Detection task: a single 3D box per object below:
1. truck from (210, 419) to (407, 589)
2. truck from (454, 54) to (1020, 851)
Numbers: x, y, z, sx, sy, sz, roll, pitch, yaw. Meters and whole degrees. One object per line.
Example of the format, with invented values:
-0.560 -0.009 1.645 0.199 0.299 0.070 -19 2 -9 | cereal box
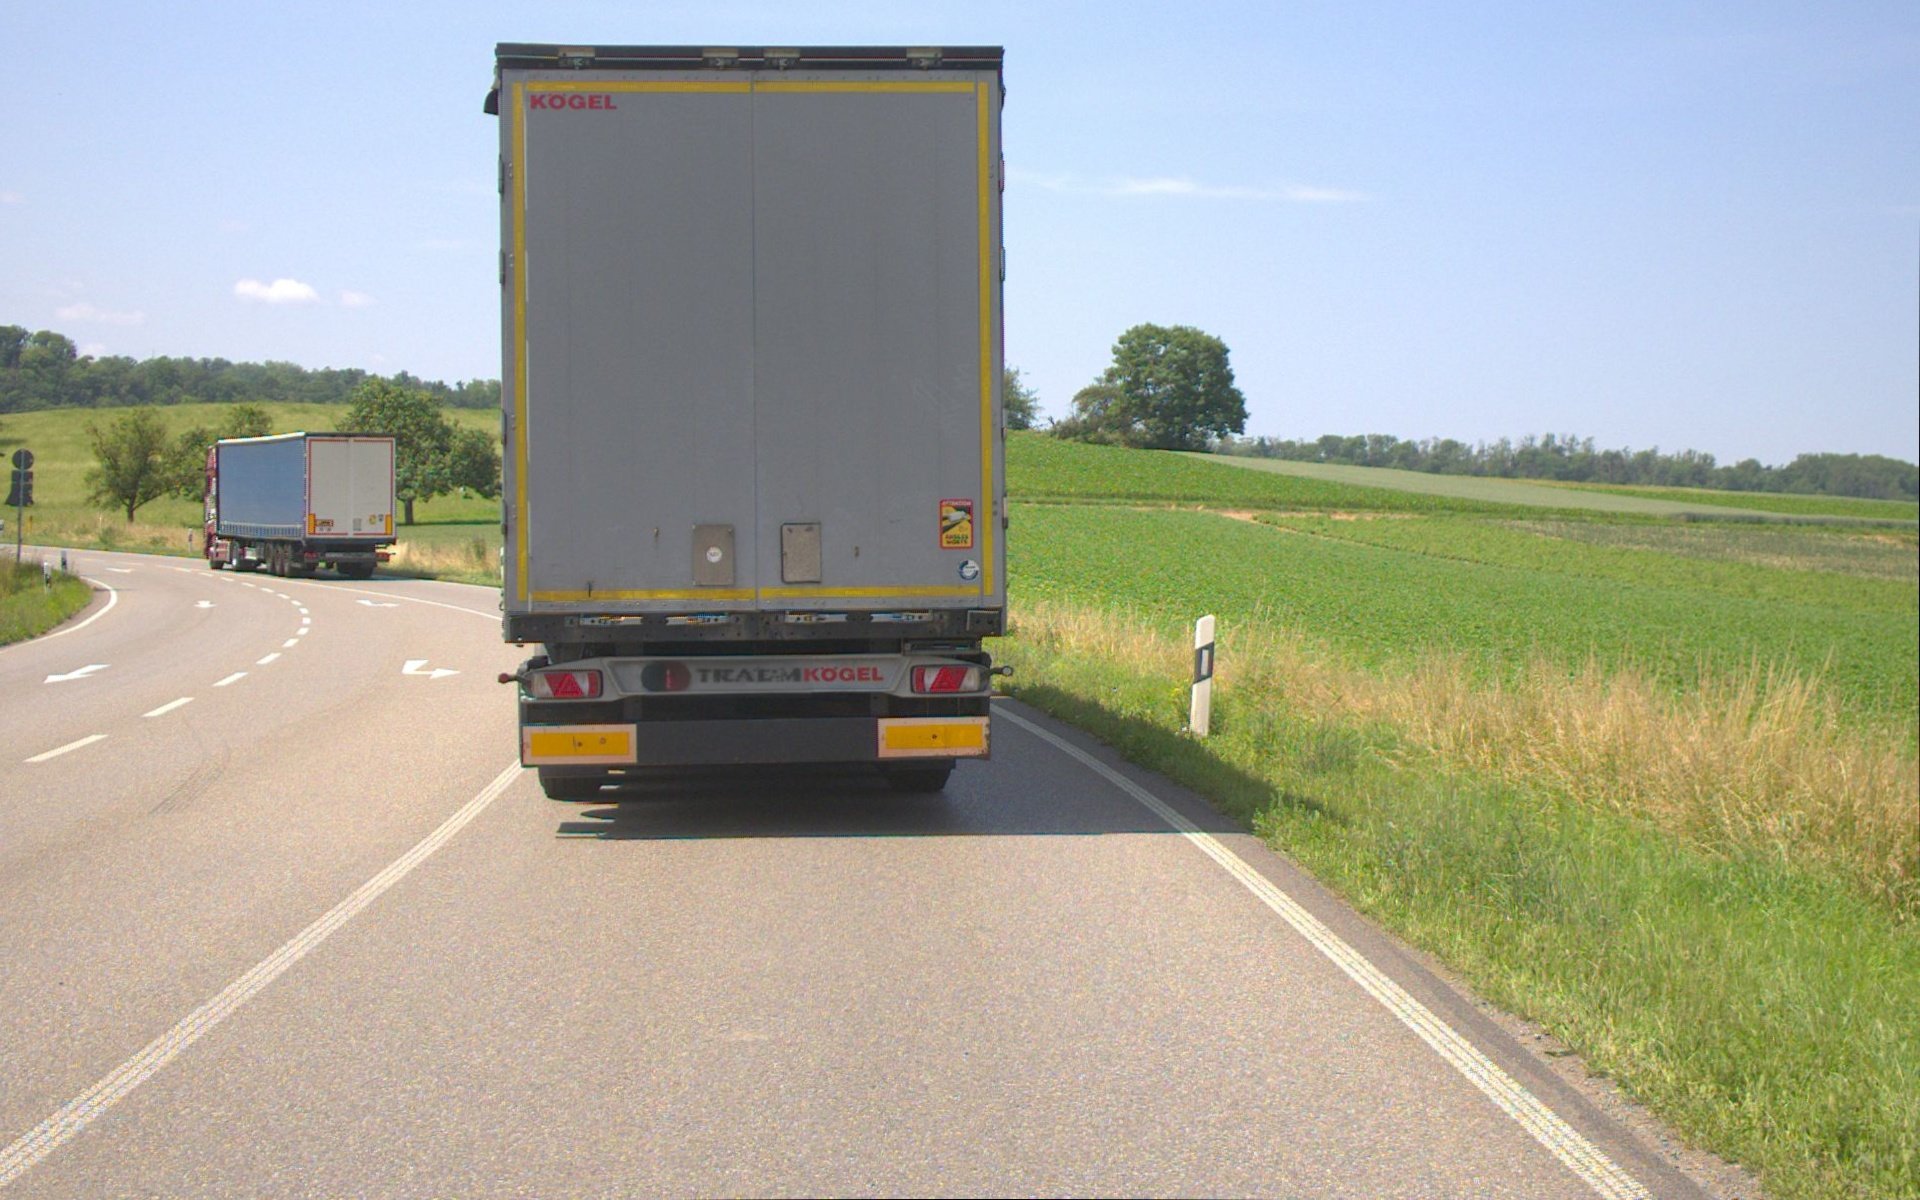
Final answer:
-19.467 -2.735 101.635 2.960 4.568 16.320 1 0 -20 | truck
-1.556 -0.817 21.885 2.807 3.932 9.593 0 1 -5 | truck
